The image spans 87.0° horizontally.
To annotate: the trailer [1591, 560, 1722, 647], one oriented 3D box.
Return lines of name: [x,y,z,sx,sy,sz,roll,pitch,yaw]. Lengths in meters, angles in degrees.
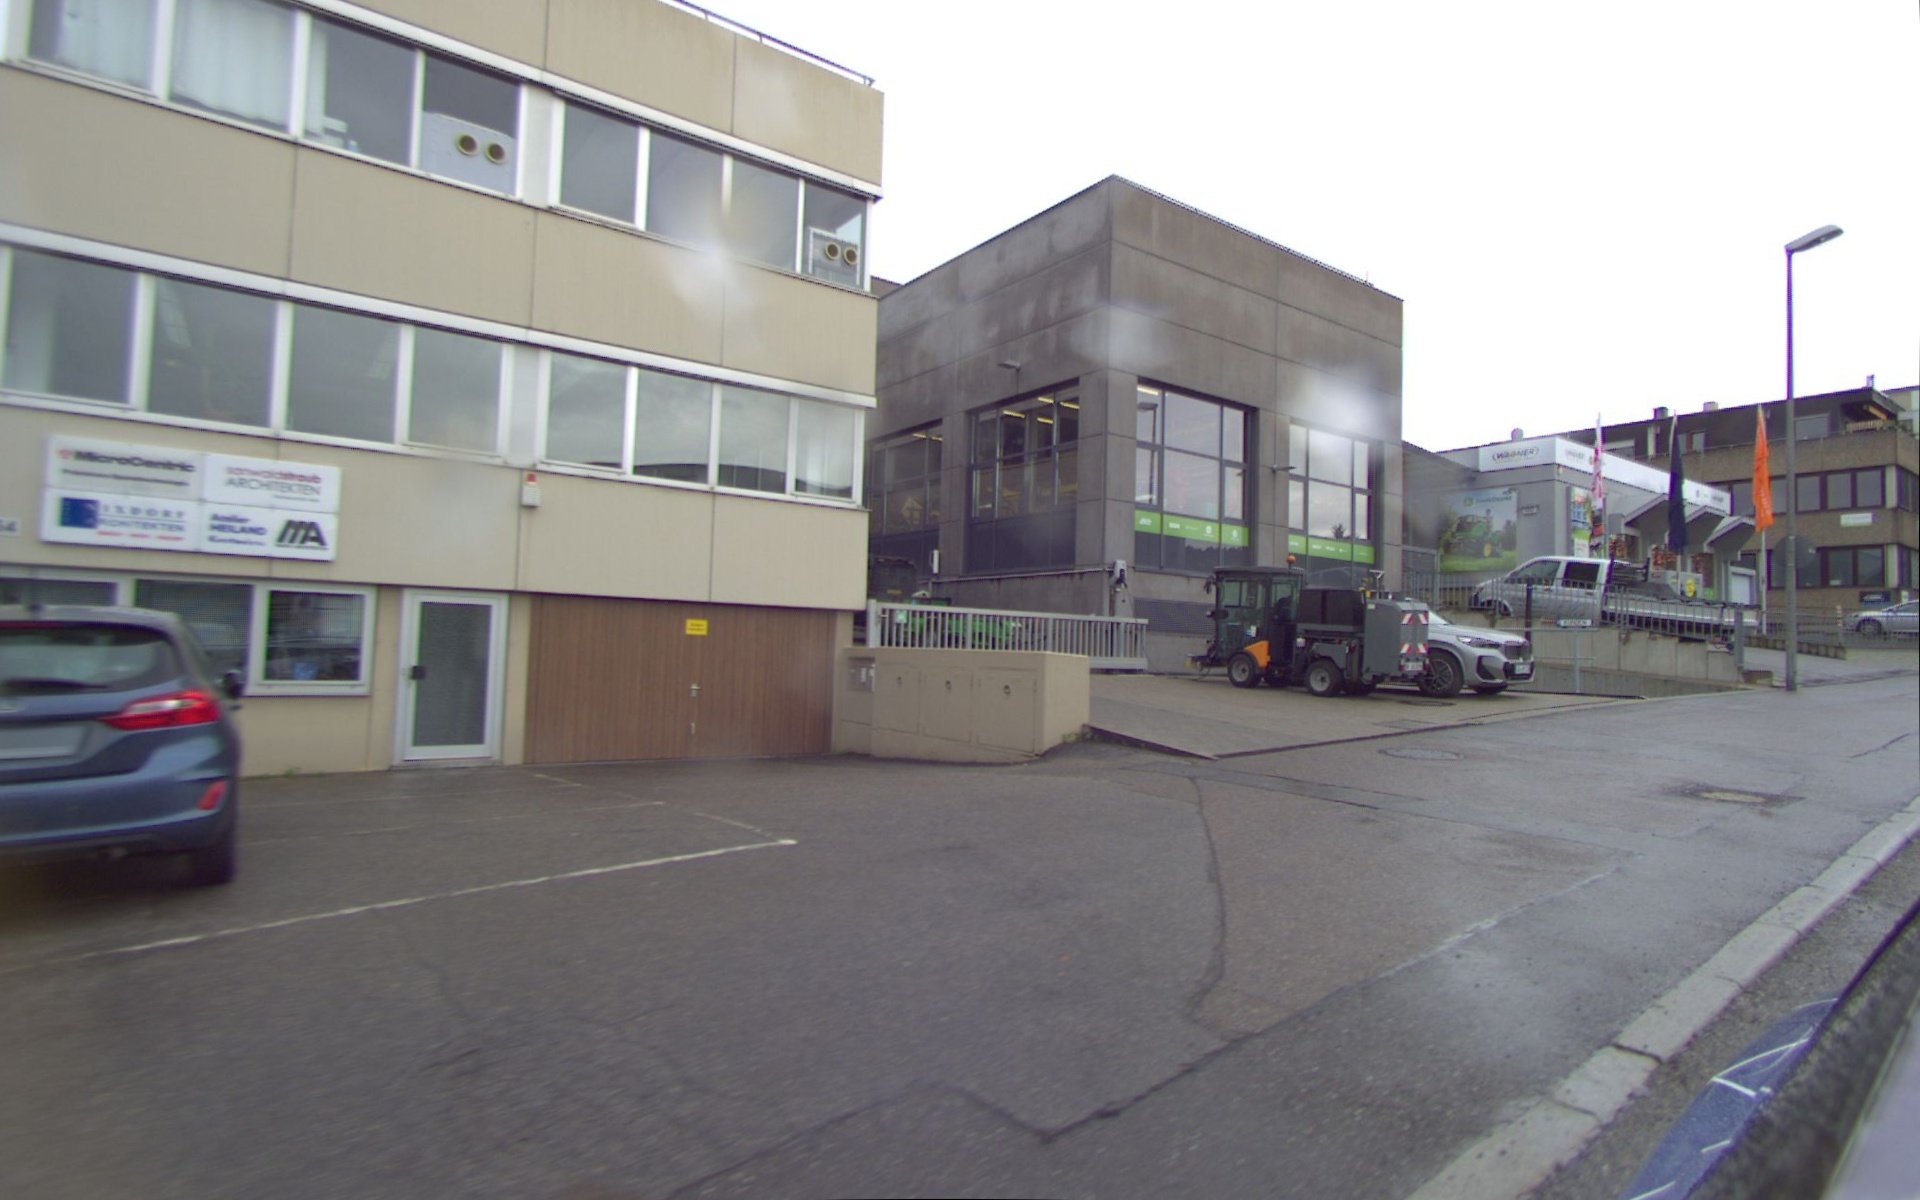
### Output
trailer: [21.152,0.133,30.696,4.225,2.448,1.893,1,-1,-35]

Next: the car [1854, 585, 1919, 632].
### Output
car: [34.472,0.317,35.646,1.966,1.593,4.134,-1,2,-36]

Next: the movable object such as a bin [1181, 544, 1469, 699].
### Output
movable object such as a bin: [5.604,0.286,16.084,1.449,2.137,4.268,0,0,-35]

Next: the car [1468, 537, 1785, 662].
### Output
car: [14.568,-0.154,22.536,2.179,2.036,5.324,-1,7,-33]

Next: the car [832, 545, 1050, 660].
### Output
car: [-0.540,-0.036,20.750,1.863,1.874,4.909,5,1,-36]

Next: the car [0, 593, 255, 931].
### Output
car: [-5.199,0.754,5.807,1.787,1.401,3.904,-1,-2,-36]

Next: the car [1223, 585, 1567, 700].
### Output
car: [7.097,0.606,17.090,1.889,1.634,5.106,1,0,-36]
